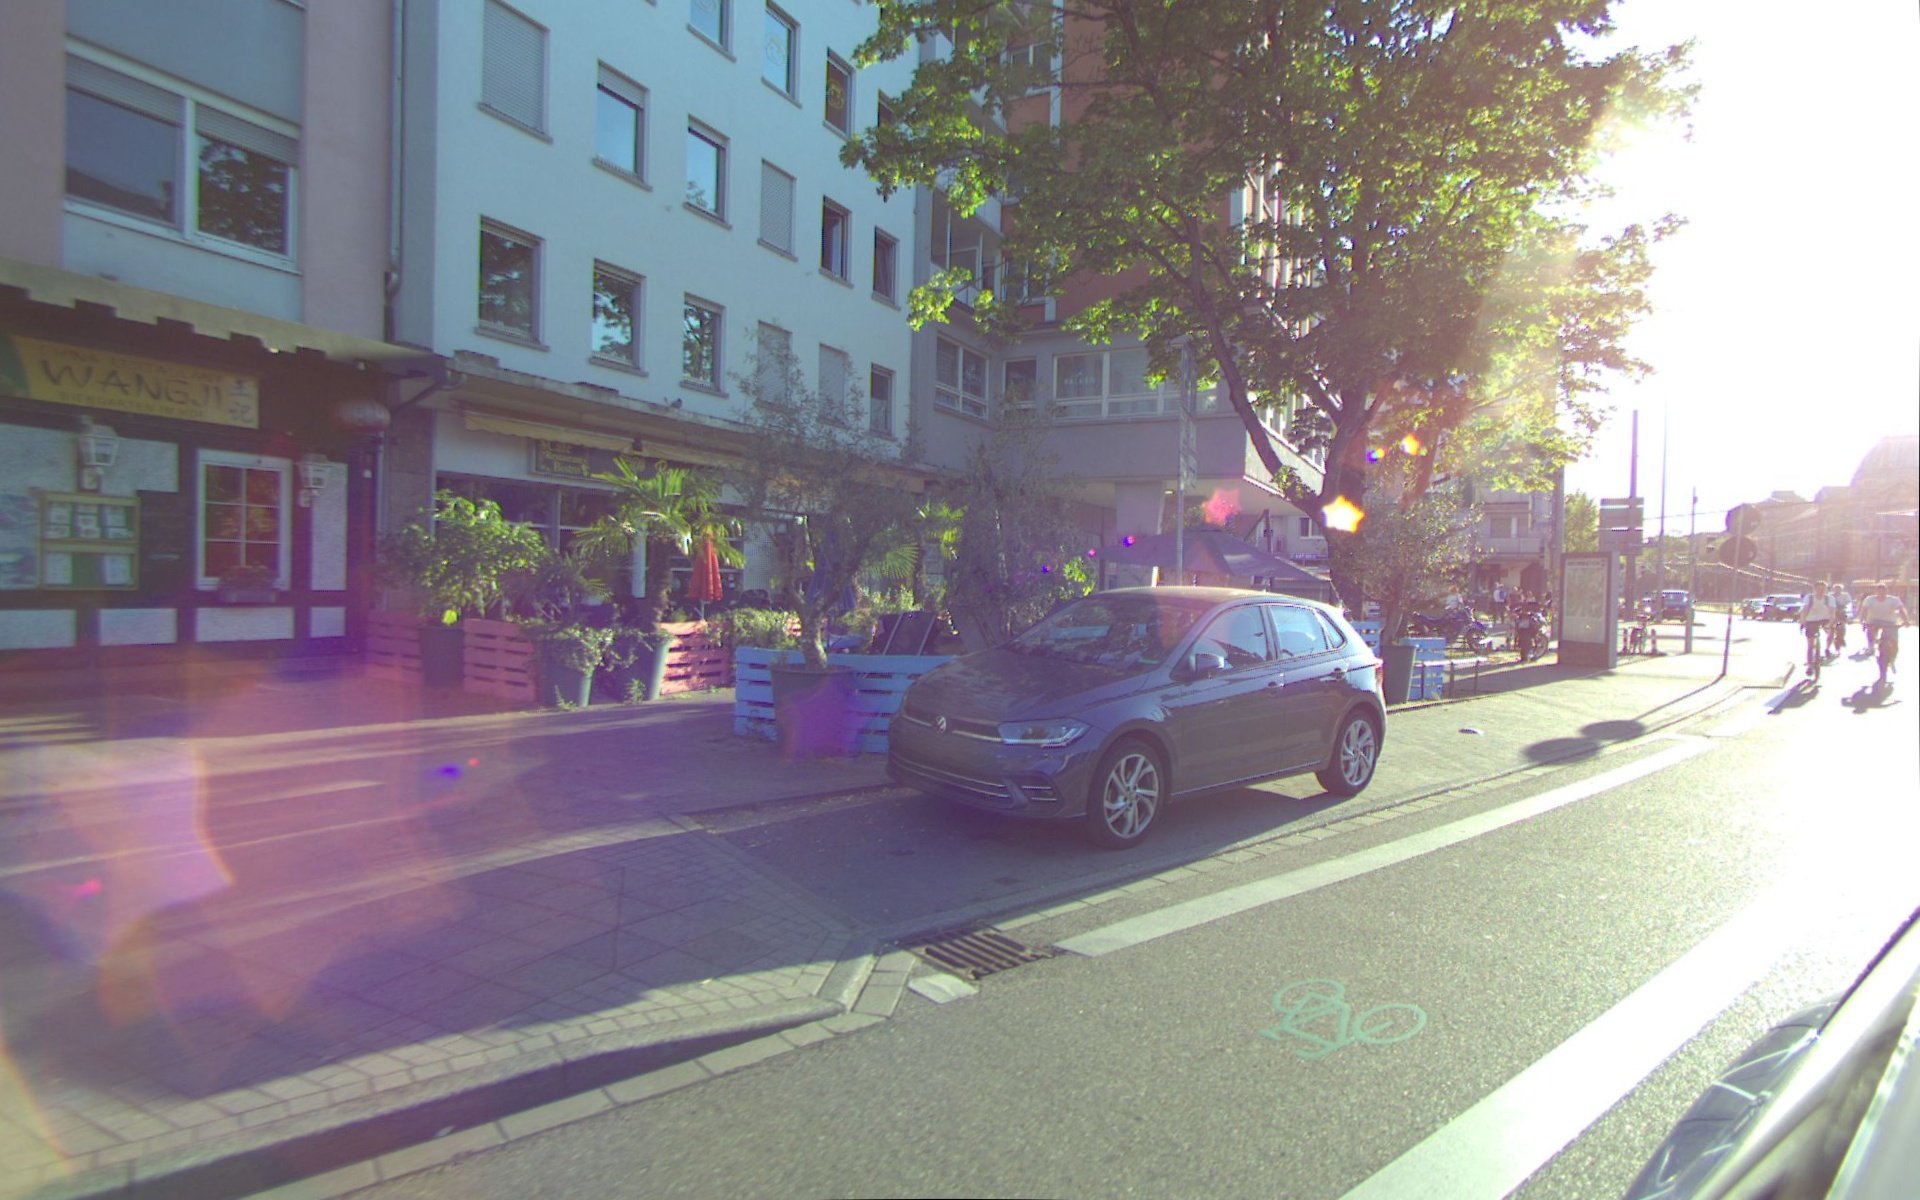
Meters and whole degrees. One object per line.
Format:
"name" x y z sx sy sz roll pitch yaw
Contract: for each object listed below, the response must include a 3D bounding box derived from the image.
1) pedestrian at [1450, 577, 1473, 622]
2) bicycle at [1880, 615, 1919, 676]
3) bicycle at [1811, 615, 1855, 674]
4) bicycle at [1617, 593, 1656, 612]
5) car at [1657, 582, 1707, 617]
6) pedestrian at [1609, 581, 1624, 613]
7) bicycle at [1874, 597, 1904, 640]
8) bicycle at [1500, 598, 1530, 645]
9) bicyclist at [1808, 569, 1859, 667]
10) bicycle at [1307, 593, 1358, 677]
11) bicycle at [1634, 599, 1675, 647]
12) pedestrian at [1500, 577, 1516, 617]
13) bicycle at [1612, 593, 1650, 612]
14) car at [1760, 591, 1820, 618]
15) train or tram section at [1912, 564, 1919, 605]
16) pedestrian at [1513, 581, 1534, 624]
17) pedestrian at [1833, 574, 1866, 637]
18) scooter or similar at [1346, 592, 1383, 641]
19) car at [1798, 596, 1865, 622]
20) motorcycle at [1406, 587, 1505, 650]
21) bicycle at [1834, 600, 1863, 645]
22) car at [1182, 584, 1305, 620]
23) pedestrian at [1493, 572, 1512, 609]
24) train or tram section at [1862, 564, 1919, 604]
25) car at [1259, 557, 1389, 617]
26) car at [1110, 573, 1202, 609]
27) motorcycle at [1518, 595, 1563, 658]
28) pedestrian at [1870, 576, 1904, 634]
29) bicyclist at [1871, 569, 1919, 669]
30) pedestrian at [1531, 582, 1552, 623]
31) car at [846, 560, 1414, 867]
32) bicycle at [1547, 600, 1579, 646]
"pedestrian" 19.414 -0.022 39.189 0.723 1.683 0.896 2 1 29
"bicycle" 17.711 0.830 19.039 0.477 1.041 1.953 0 0 39
"bicycle" 16.766 0.823 19.452 0.574 1.041 1.830 0 0 39
"bicycle" 40.447 0.136 60.505 1.855 1.074 0.601 2 1 26
"car" 43.958 -0.058 61.710 1.926 1.957 4.782 2 1 29
"pedestrian" 36.036 -0.159 55.539 0.659 1.726 1.059 2 1 33
"bicycle" 27.077 0.519 29.516 0.528 1.173 1.823 0 1 39
"bicycle" 14.589 0.552 26.608 0.641 1.172 2.102 2 0 29
"bicyclist" 16.770 0.328 19.450 0.673 1.830 0.980 1 1 38
"bicycle" 5.536 0.493 14.989 0.418 1.172 1.737 2 0 29
"bicycle" 17.240 0.554 25.151 0.641 1.141 1.854 2 0 29
"pedestrian" 24.087 -0.141 44.481 0.565 1.723 0.804 2 1 29
"bicycle" 40.999 0.133 61.852 1.855 1.074 0.601 2 1 26
"car" 55.227 0.272 67.456 1.937 1.734 4.809 -1 0 25
"train or tram section" 83.001 -1.298 83.545 2.755 3.580 13.127 1 1 27
"pedestrian" 22.094 0.088 39.712 0.678 1.683 0.739 2 1 30
"pedestrian" 24.191 0.137 27.532 0.637 1.669 0.831 0 0 41
"scooter or similar" 10.792 0.439 26.988 1.162 1.270 0.416 0 1 -43
"car" 51.913 0.519 60.369 1.824 1.418 4.545 -1 0 25
"motorcycle" 12.022 0.423 24.570 2.038 1.424 0.750 2 1 37
"bicycle" 24.252 0.589 27.634 0.528 1.173 1.823 0 1 39
"car" 11.804 0.055 42.180 4.638 1.357 1.820 2 1 31
"pedestrian" 25.873 -0.440 48.264 0.779 1.723 1.016 2 1 29
"train or tram section" 88.966 -1.489 95.267 2.755 3.580 13.127 1 1 27
"car" 16.219 -0.622 45.172 5.219 2.513 1.907 2 1 29
"car" 9.407 -0.466 48.695 4.047 1.590 1.582 2 1 28
"motorcycle" 12.366 0.537 21.529 0.664 1.258 2.174 1 1 34
"pedestrian" 27.031 0.131 29.513 0.676 1.669 0.889 0 0 39
"bicyclist" 17.778 0.335 19.052 0.825 1.830 1.043 2 1 39
"pedestrian" 22.268 0.099 38.765 0.678 1.518 0.739 2 1 30
"car" 1.315 0.550 7.002 3.829 1.490 1.733 0 4 -39
"bicycle" 15.523 0.575 26.075 0.641 1.141 1.854 2 0 29
